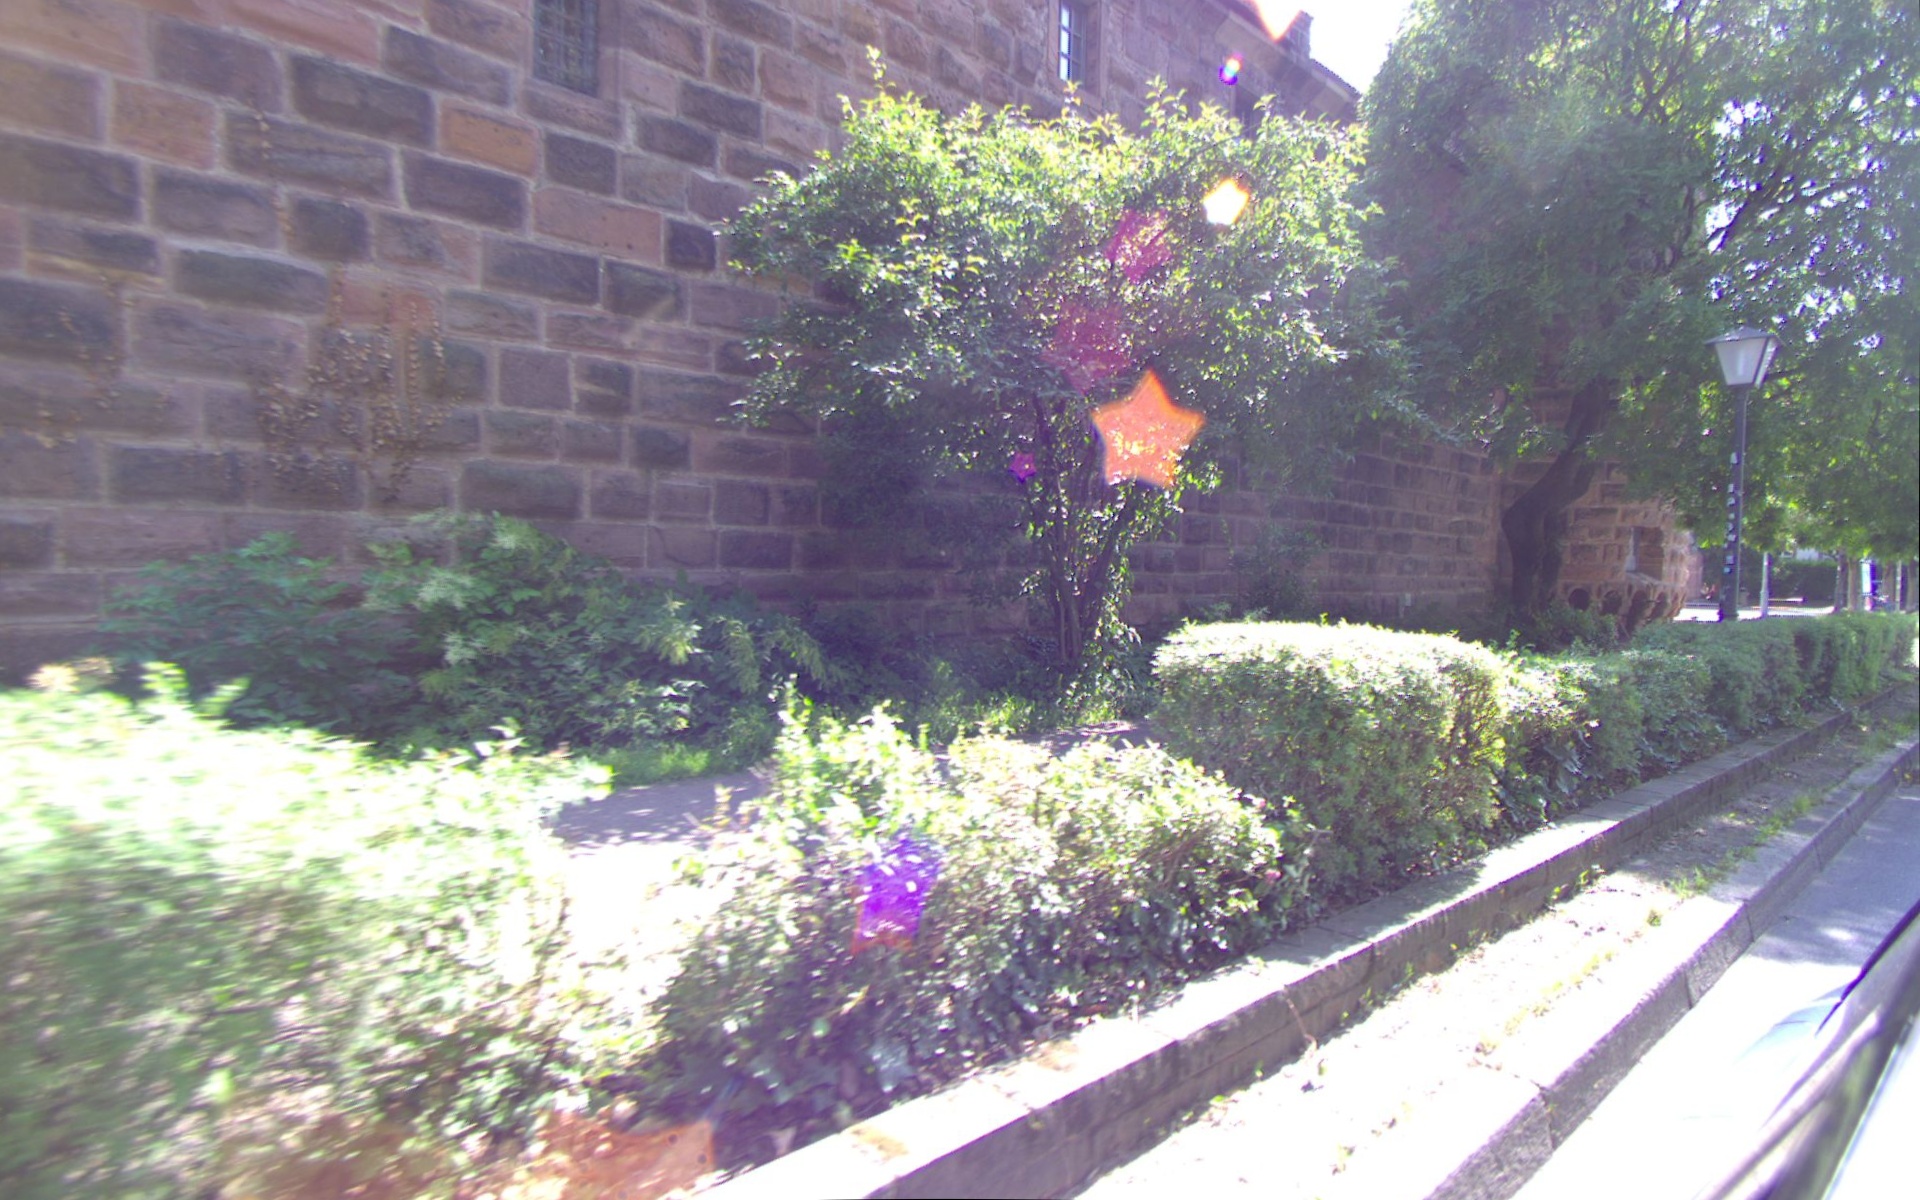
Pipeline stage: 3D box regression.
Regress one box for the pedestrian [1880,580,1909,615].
[{"bbox_3d":[32.881,-0.099,35.609,0.733,1.208,0.632,-1,0,-39],"label":"pedestrian"}]
